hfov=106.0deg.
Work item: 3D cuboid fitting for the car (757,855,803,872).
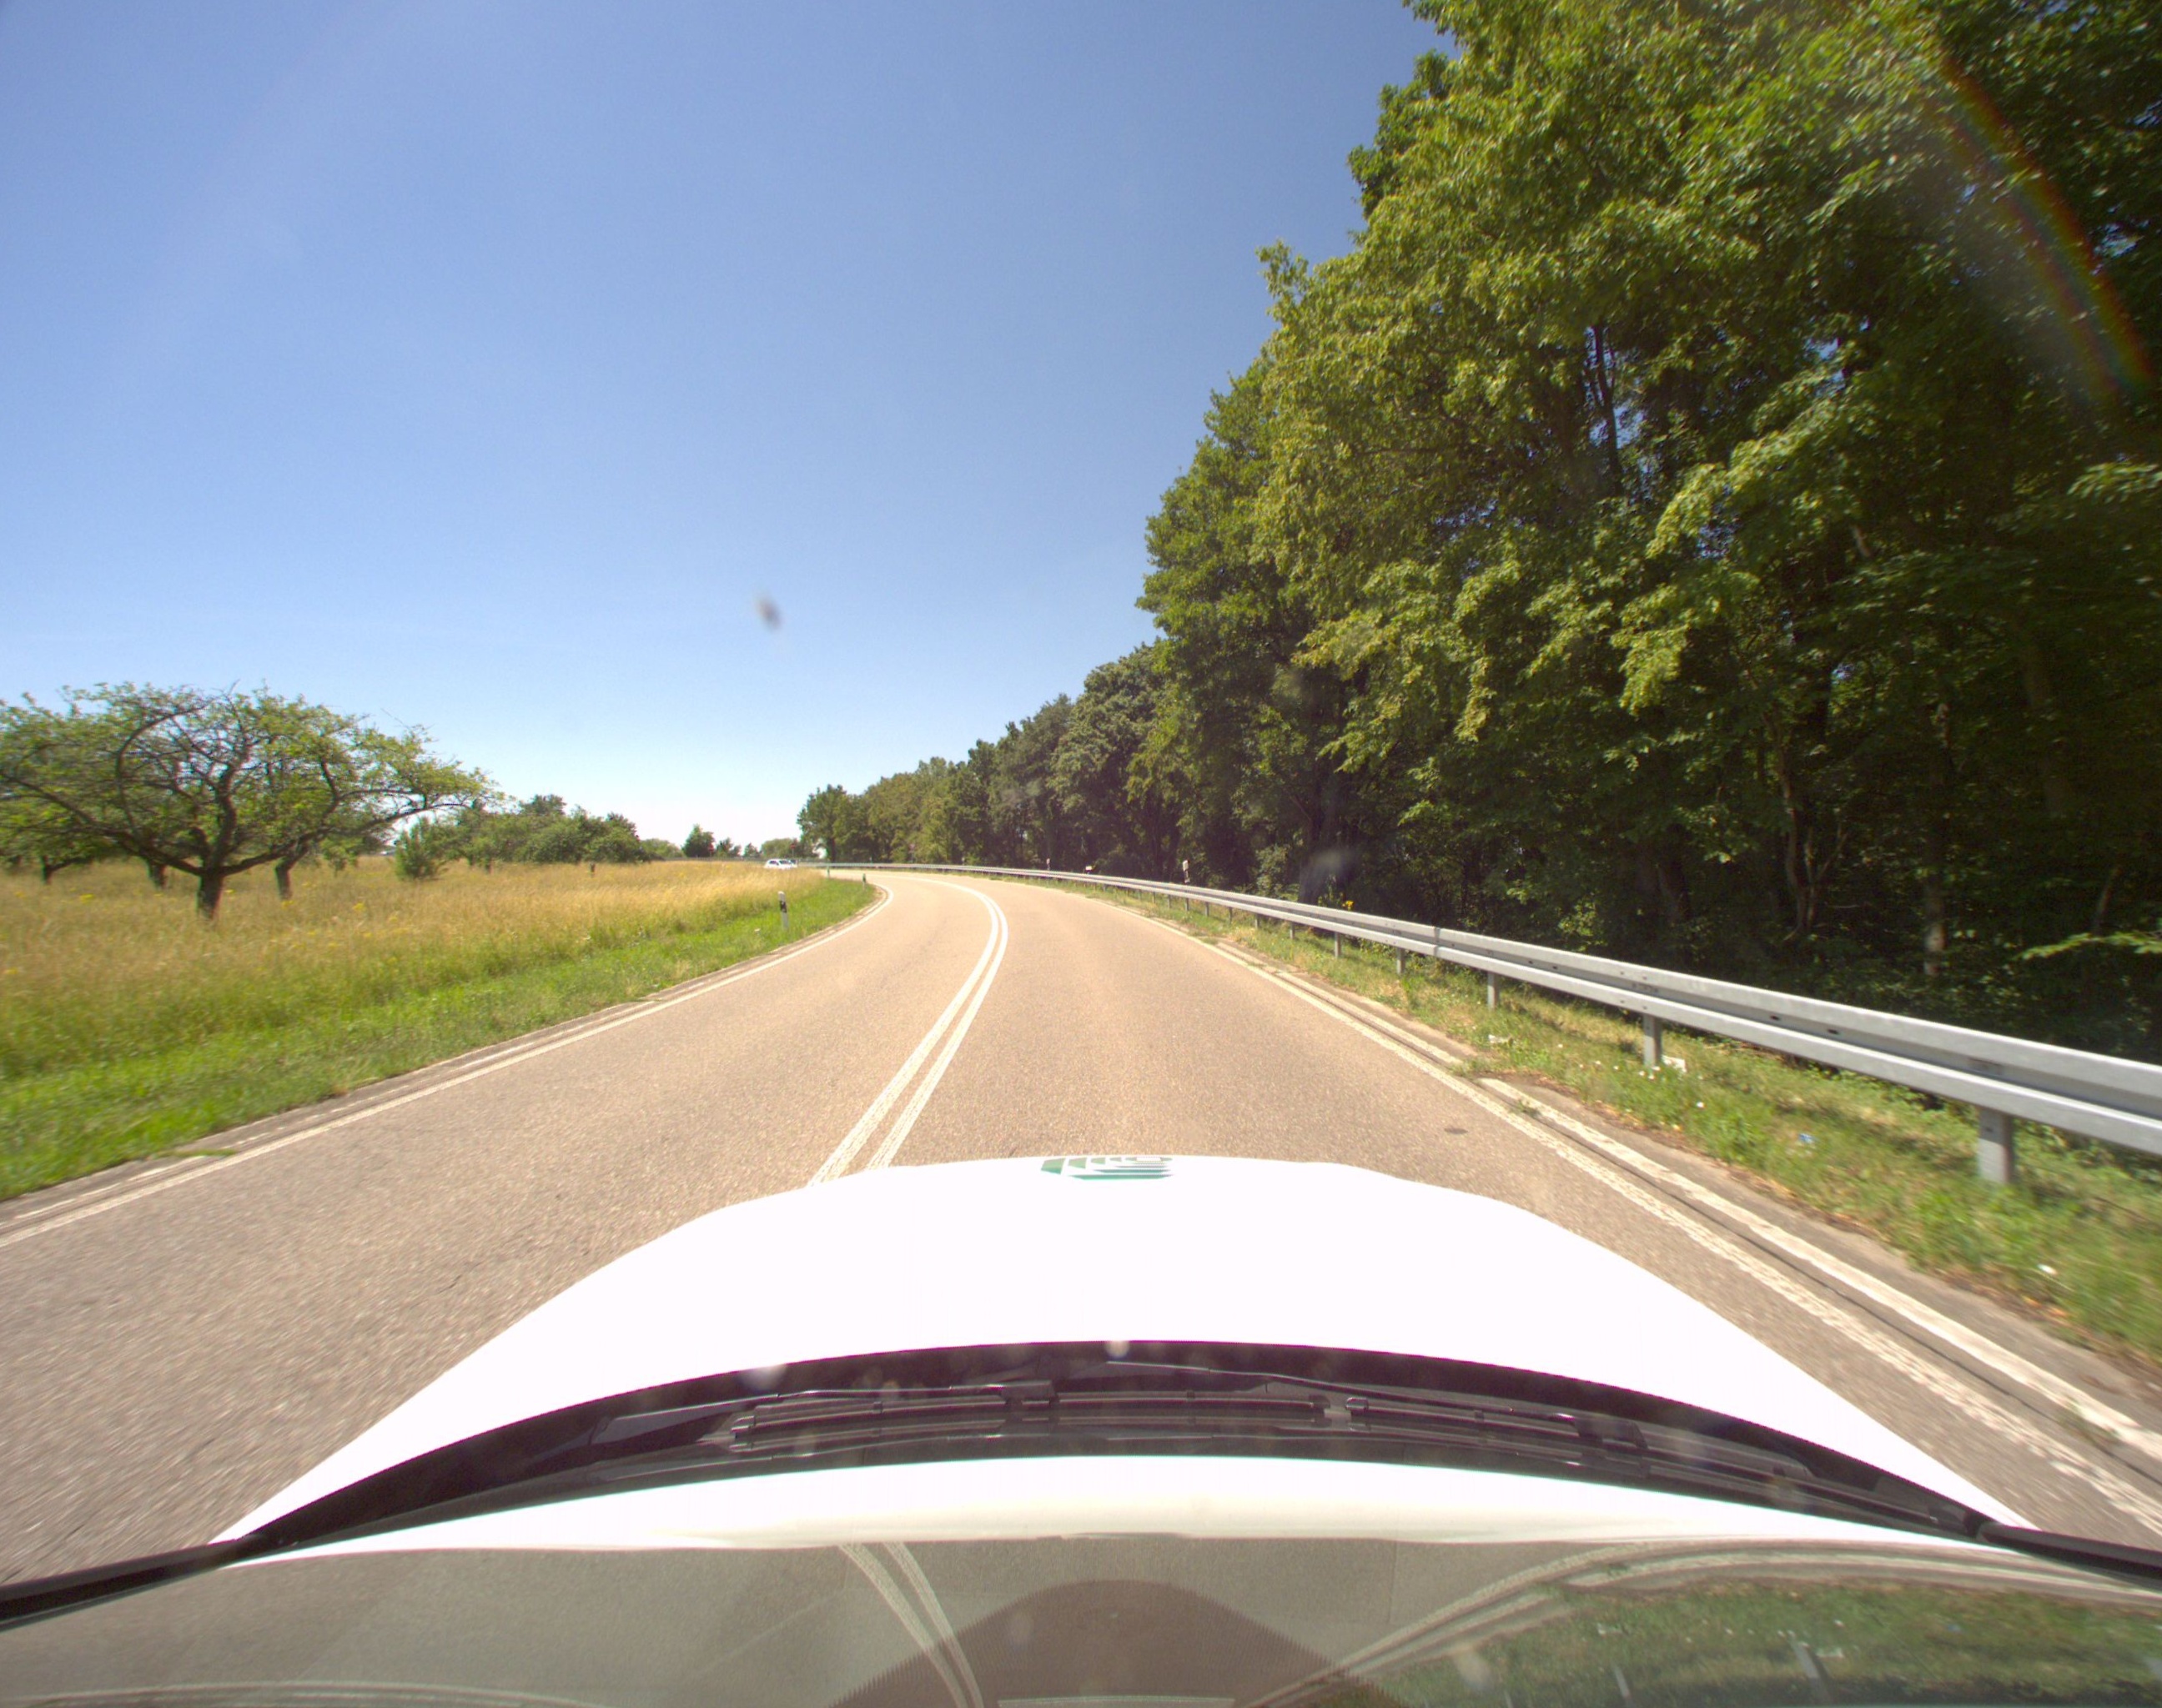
[{"bbox_3d":[-28.928,0.913,78.319,4.119,1.507,1.839,-1,-4,29],"label":"car"}]
